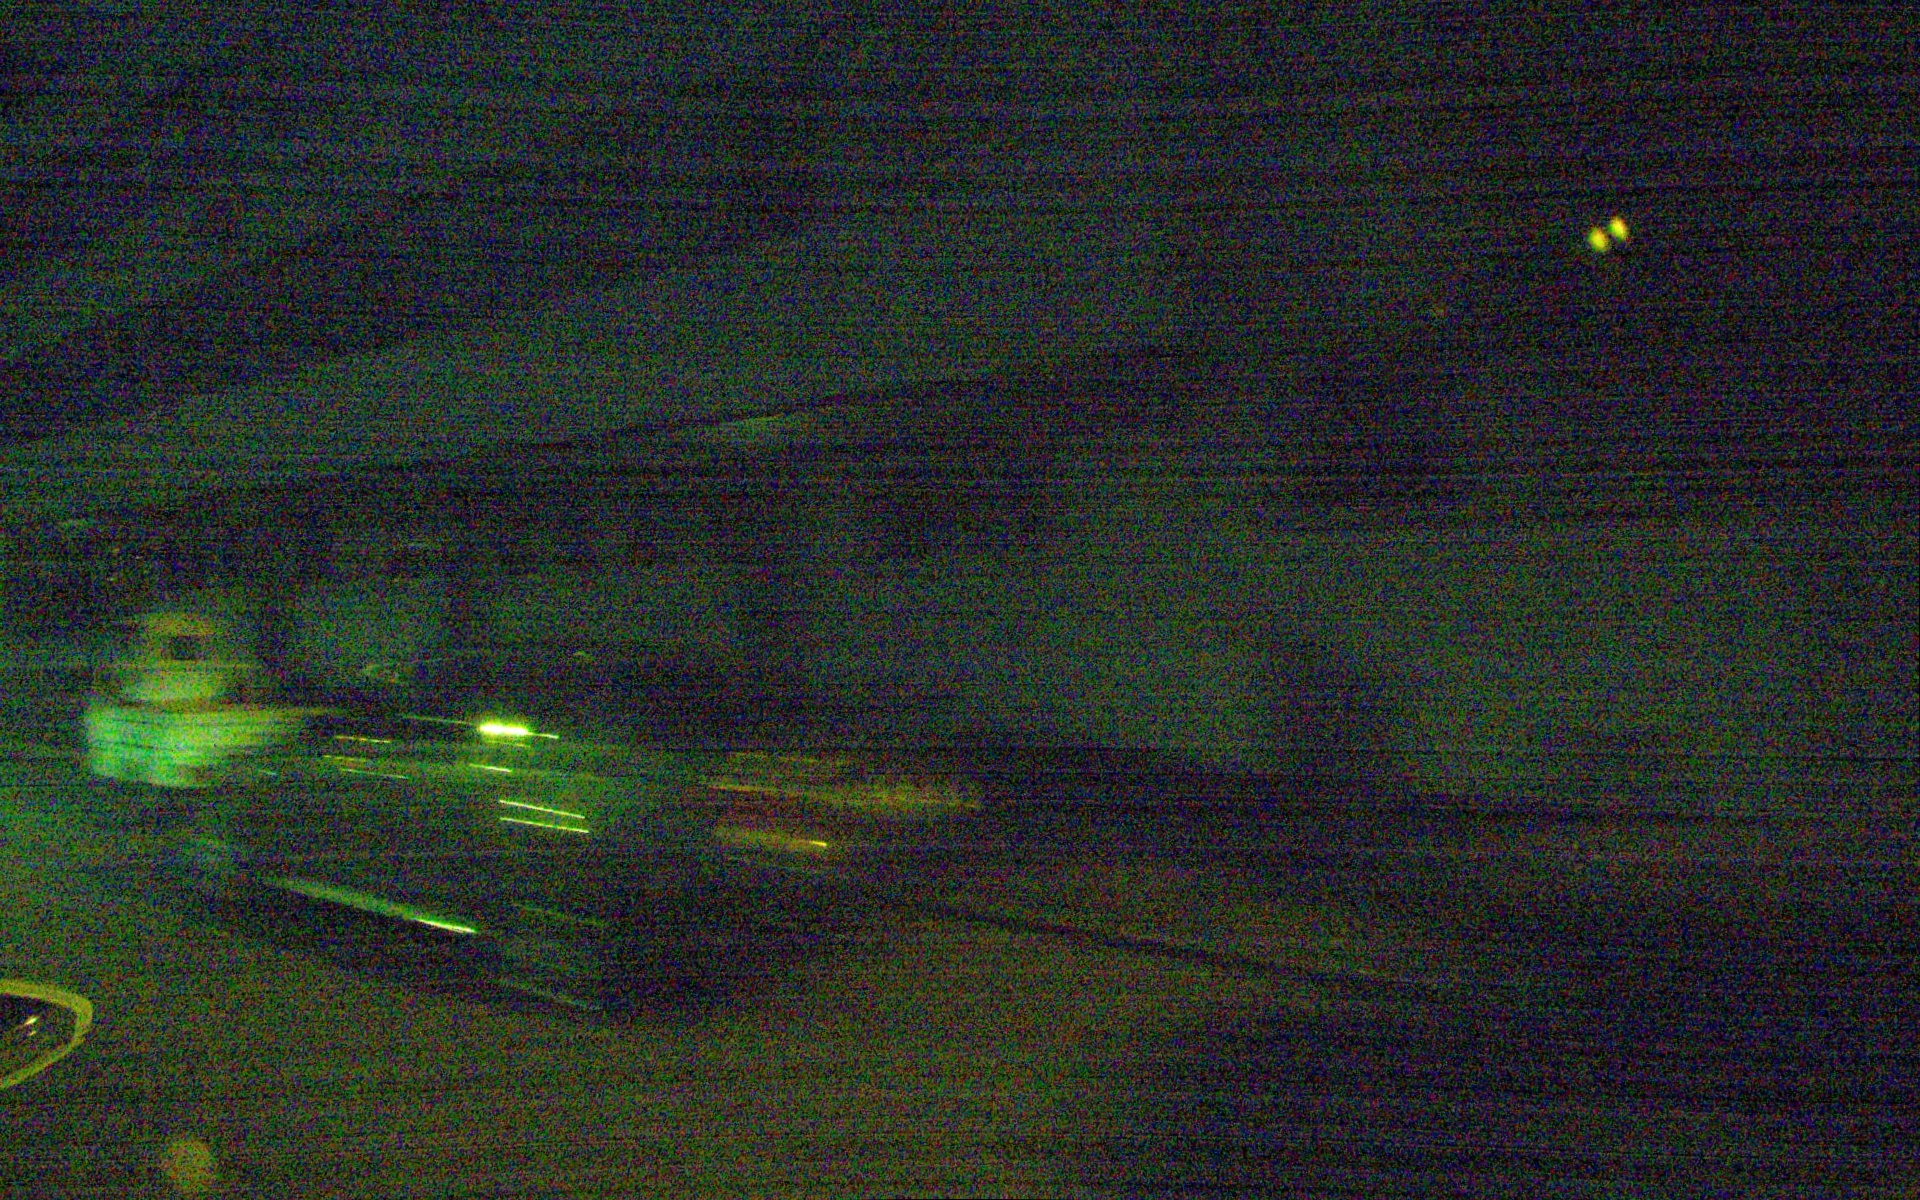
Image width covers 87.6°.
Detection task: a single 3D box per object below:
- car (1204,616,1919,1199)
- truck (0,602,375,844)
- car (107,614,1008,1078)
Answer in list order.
[{"bbox_3d":[2.954,0.747,2.004,4.489,1.430,1.764,-1,-1,35],"label":"car"},{"bbox_3d":[-6.664,0.882,8.471,3.757,1.666,1.368,-1,-1,32],"label":"truck"},{"bbox_3d":[-2.365,0.833,5.378,4.937,1.509,1.943,-1,-1,31],"label":"car"}]
